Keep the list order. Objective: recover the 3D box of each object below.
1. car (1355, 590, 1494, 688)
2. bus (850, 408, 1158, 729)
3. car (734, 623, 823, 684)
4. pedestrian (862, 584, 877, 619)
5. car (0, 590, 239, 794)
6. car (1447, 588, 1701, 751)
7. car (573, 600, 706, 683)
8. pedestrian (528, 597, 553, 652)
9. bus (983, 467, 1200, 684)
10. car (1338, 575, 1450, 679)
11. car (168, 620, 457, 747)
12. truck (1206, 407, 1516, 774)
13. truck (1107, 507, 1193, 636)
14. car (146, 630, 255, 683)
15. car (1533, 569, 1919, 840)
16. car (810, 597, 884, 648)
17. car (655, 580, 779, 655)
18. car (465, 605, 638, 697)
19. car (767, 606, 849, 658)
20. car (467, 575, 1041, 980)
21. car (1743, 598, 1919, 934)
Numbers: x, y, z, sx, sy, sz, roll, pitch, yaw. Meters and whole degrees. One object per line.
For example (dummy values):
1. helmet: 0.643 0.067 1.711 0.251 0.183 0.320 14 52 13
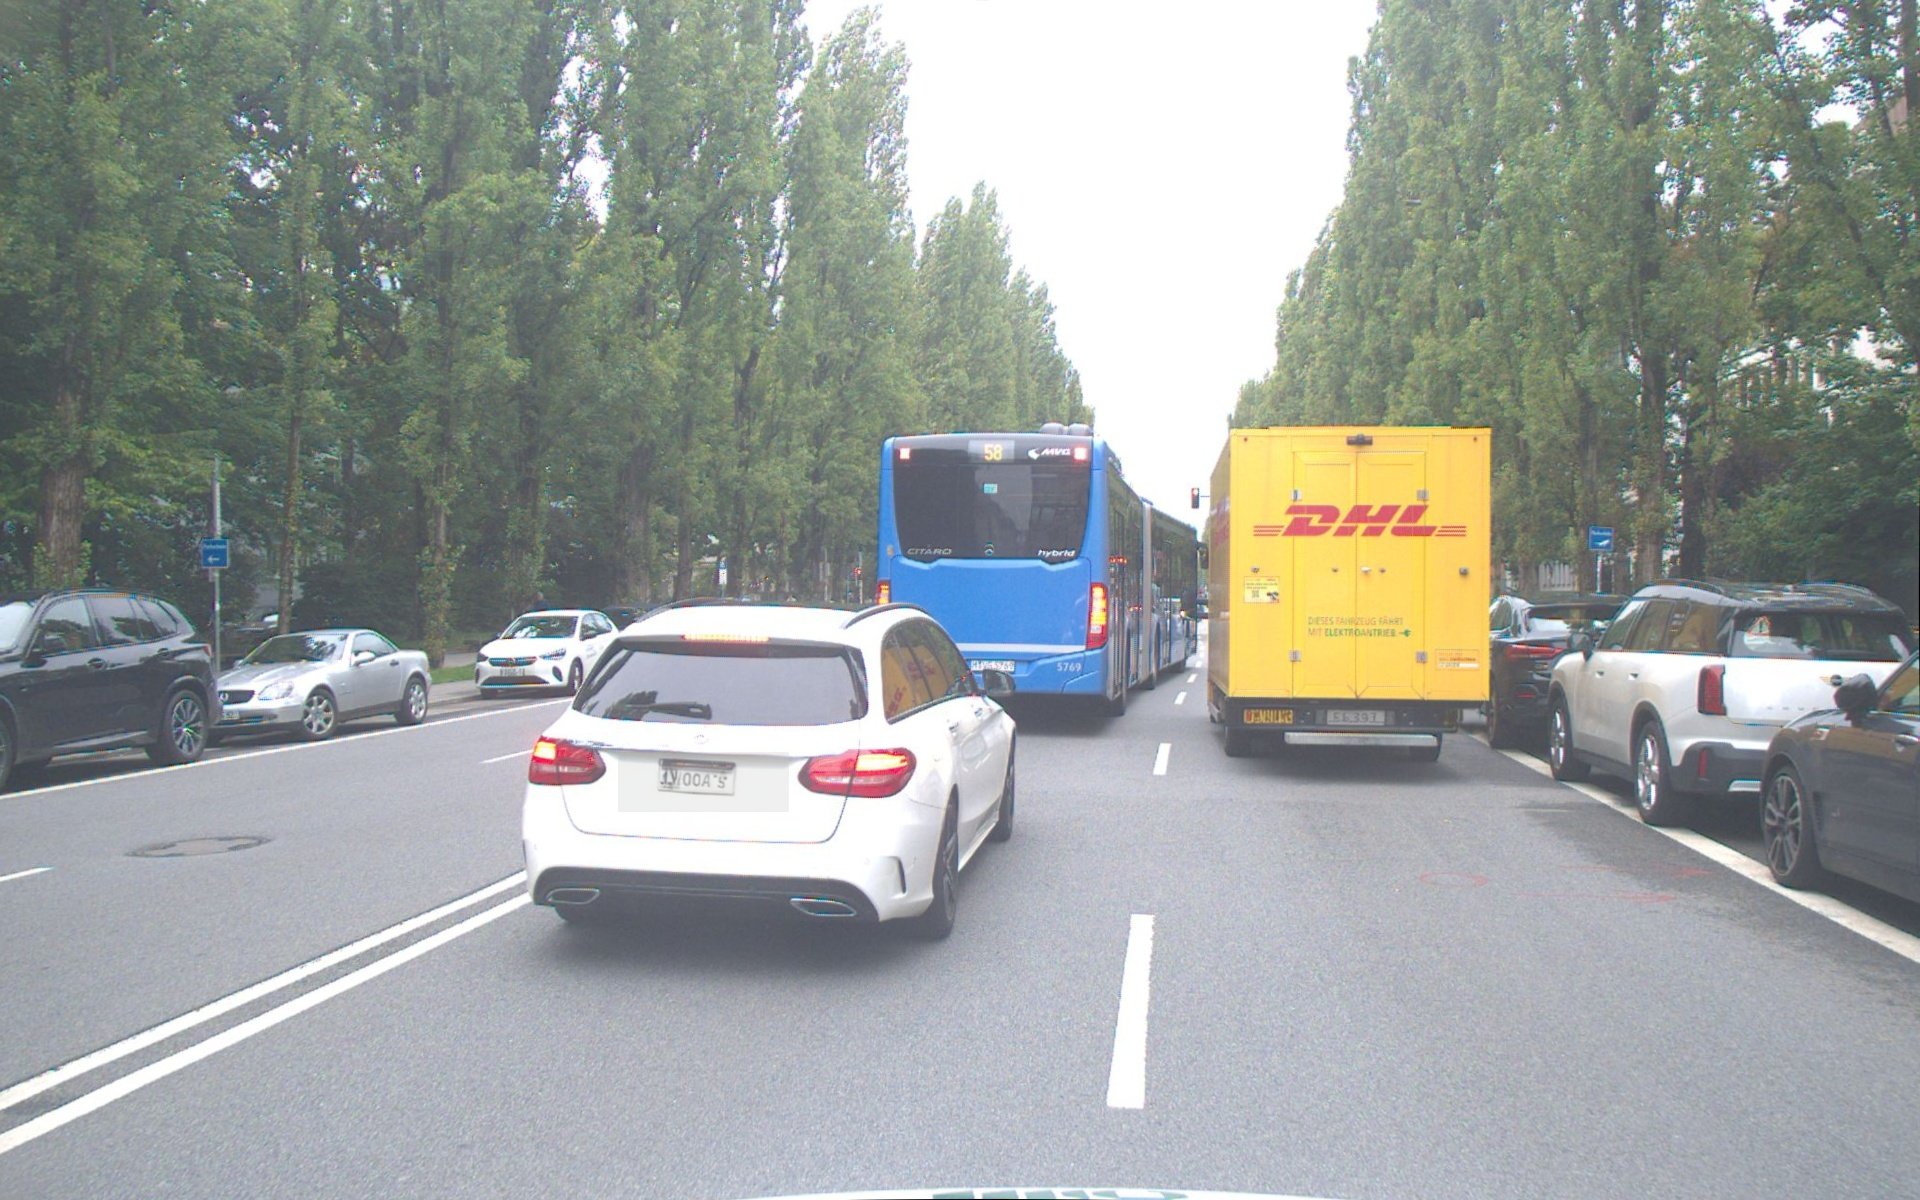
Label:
1. car: 7.988 0.627 28.739 1.823 1.579 4.003 0 0 8
2. bus: 0.969 -0.350 21.537 2.795 3.270 9.067 0 0 9
3. car: -4.938 1.446 45.413 1.507 1.458 3.872 -3 0 7
4. pedestrian: -5.449 0.083 99.750 0.812 2.049 0.778 -1 0 6
5. car: -8.776 0.808 15.086 1.840 1.687 4.721 -3 0 6
6. car: 6.405 0.643 17.723 1.688 1.521 4.327 0 0 8
7. car: -6.479 0.798 33.849 1.707 1.545 4.119 -2 0 2
8. pedestrian: -13.576 0.782 53.556 0.587 1.769 0.641 -1 0 8
9. bus: 2.739 -0.398 30.764 2.810 3.362 9.798 0 0 12
10. car: 8.898 0.511 34.185 1.767 2.011 4.240 0 0 8
11. car: -7.994 0.977 20.832 1.546 1.327 4.032 -2 0 8
12. truck: 3.784 -0.085 17.049 2.278 2.949 7.338 0 0 7
13. truck: 6.423 -0.912 56.556 2.658 4.034 9.224 -1 0 6
14. car: -27.365 2.015 59.753 1.953 1.713 4.266 -1 0 0
15. car: 5.593 0.631 12.177 1.743 1.609 4.150 2 0 7
16. car: -3.651 0.708 54.190 1.672 1.575 4.003 -1 0 7
17. car: -5.699 0.396 39.311 1.753 1.575 4.342 -3 0 7
18. car: -7.165 0.856 29.412 1.649 1.437 4.007 -2 0 7
19. car: -4.527 0.932 49.750 1.639 1.438 4.003 -1 0 7
20. car: -0.687 0.652 8.511 1.787 1.480 4.586 1 0 8
21. car: 5.029 0.753 7.288 1.598 1.471 4.152 2 0 7
